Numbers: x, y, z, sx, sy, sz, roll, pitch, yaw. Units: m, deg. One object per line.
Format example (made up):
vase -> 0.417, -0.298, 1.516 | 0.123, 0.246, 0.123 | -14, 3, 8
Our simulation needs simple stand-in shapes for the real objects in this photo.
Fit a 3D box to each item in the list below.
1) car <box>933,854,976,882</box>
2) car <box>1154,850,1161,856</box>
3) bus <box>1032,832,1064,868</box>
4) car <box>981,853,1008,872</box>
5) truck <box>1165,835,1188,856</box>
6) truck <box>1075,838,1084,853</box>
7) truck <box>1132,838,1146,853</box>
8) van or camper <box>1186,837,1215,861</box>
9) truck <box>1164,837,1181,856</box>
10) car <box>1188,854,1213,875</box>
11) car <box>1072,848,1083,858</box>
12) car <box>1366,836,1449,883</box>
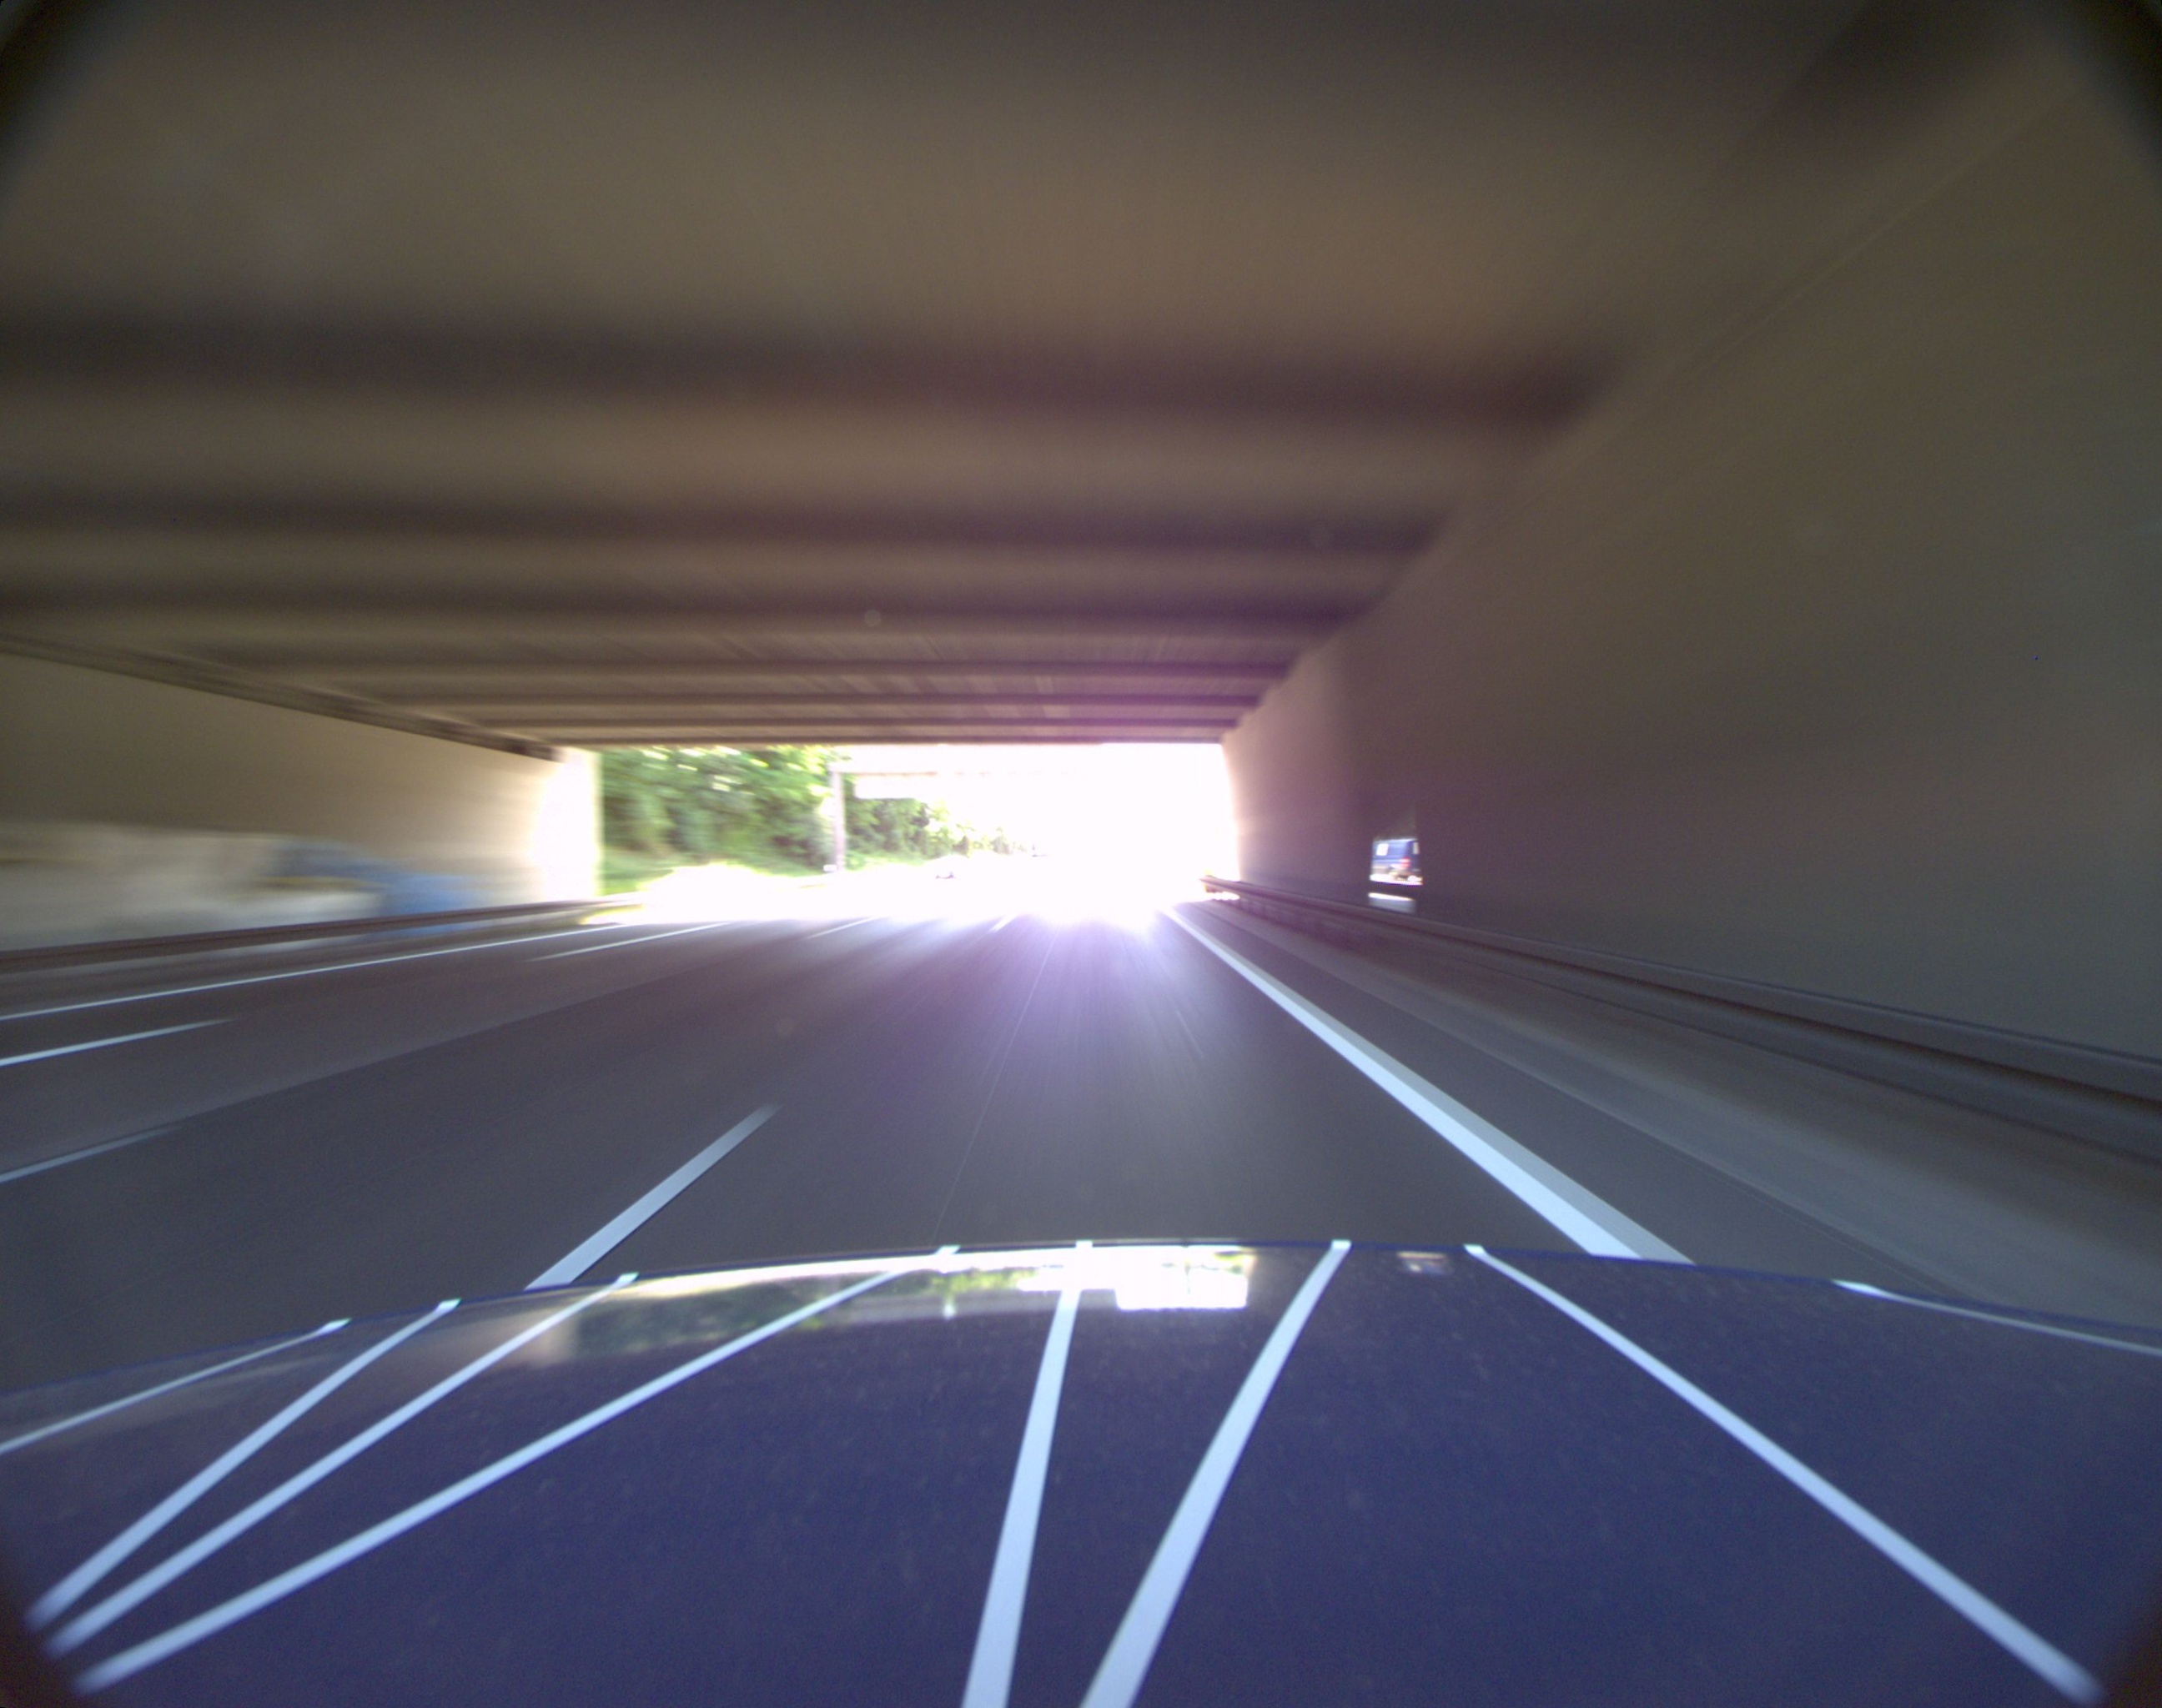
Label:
car -> -7.838, 0.858, 47.351 | 1.875, 1.547, 4.201 | -2, 1, 1
car -> 21.659, -0.250, 214.833 | 1.829, 1.527, 4.010 | 0, 0, 3
bus -> -3.504, -0.445, 83.024 | 2.617, 3.532, 13.681 | -2, 1, 1
car -> -7.302, 0.730, 64.662 | 1.674, 1.439, 4.573 | -2, 1, 1
truck -> 20.447, -1.762, 163.348 | 3.074, 4.227, 13.959 | 2, 1, 0
truck -> -0.567, -2.628, 241.509 | 2.616, 4.638, 10.960 | -2, 1, 1
truck -> 17.104, -2.448, 223.814 | 2.994, 3.995, 13.934 | -2, 1, 0
van or camper -> 15.333, -0.628, 97.622 | 2.599, 2.890, 7.233 | -2, 1, 1
truck -> 20.499, -1.724, 170.005 | 2.977, 4.039, 6.458 | 2, 1, 1
car -> 11.624, 0.997, 74.133 | 1.695, 1.805, 4.713 | -2, 1, 0
car -> -0.913, -0.360, 192.264 | 2.616, 2.389, 7.122 | -2, 1, 1
car -> 18.076, 0.266, 42.417 | 2.094, 2.385, 5.733 | -2, 1, 0
